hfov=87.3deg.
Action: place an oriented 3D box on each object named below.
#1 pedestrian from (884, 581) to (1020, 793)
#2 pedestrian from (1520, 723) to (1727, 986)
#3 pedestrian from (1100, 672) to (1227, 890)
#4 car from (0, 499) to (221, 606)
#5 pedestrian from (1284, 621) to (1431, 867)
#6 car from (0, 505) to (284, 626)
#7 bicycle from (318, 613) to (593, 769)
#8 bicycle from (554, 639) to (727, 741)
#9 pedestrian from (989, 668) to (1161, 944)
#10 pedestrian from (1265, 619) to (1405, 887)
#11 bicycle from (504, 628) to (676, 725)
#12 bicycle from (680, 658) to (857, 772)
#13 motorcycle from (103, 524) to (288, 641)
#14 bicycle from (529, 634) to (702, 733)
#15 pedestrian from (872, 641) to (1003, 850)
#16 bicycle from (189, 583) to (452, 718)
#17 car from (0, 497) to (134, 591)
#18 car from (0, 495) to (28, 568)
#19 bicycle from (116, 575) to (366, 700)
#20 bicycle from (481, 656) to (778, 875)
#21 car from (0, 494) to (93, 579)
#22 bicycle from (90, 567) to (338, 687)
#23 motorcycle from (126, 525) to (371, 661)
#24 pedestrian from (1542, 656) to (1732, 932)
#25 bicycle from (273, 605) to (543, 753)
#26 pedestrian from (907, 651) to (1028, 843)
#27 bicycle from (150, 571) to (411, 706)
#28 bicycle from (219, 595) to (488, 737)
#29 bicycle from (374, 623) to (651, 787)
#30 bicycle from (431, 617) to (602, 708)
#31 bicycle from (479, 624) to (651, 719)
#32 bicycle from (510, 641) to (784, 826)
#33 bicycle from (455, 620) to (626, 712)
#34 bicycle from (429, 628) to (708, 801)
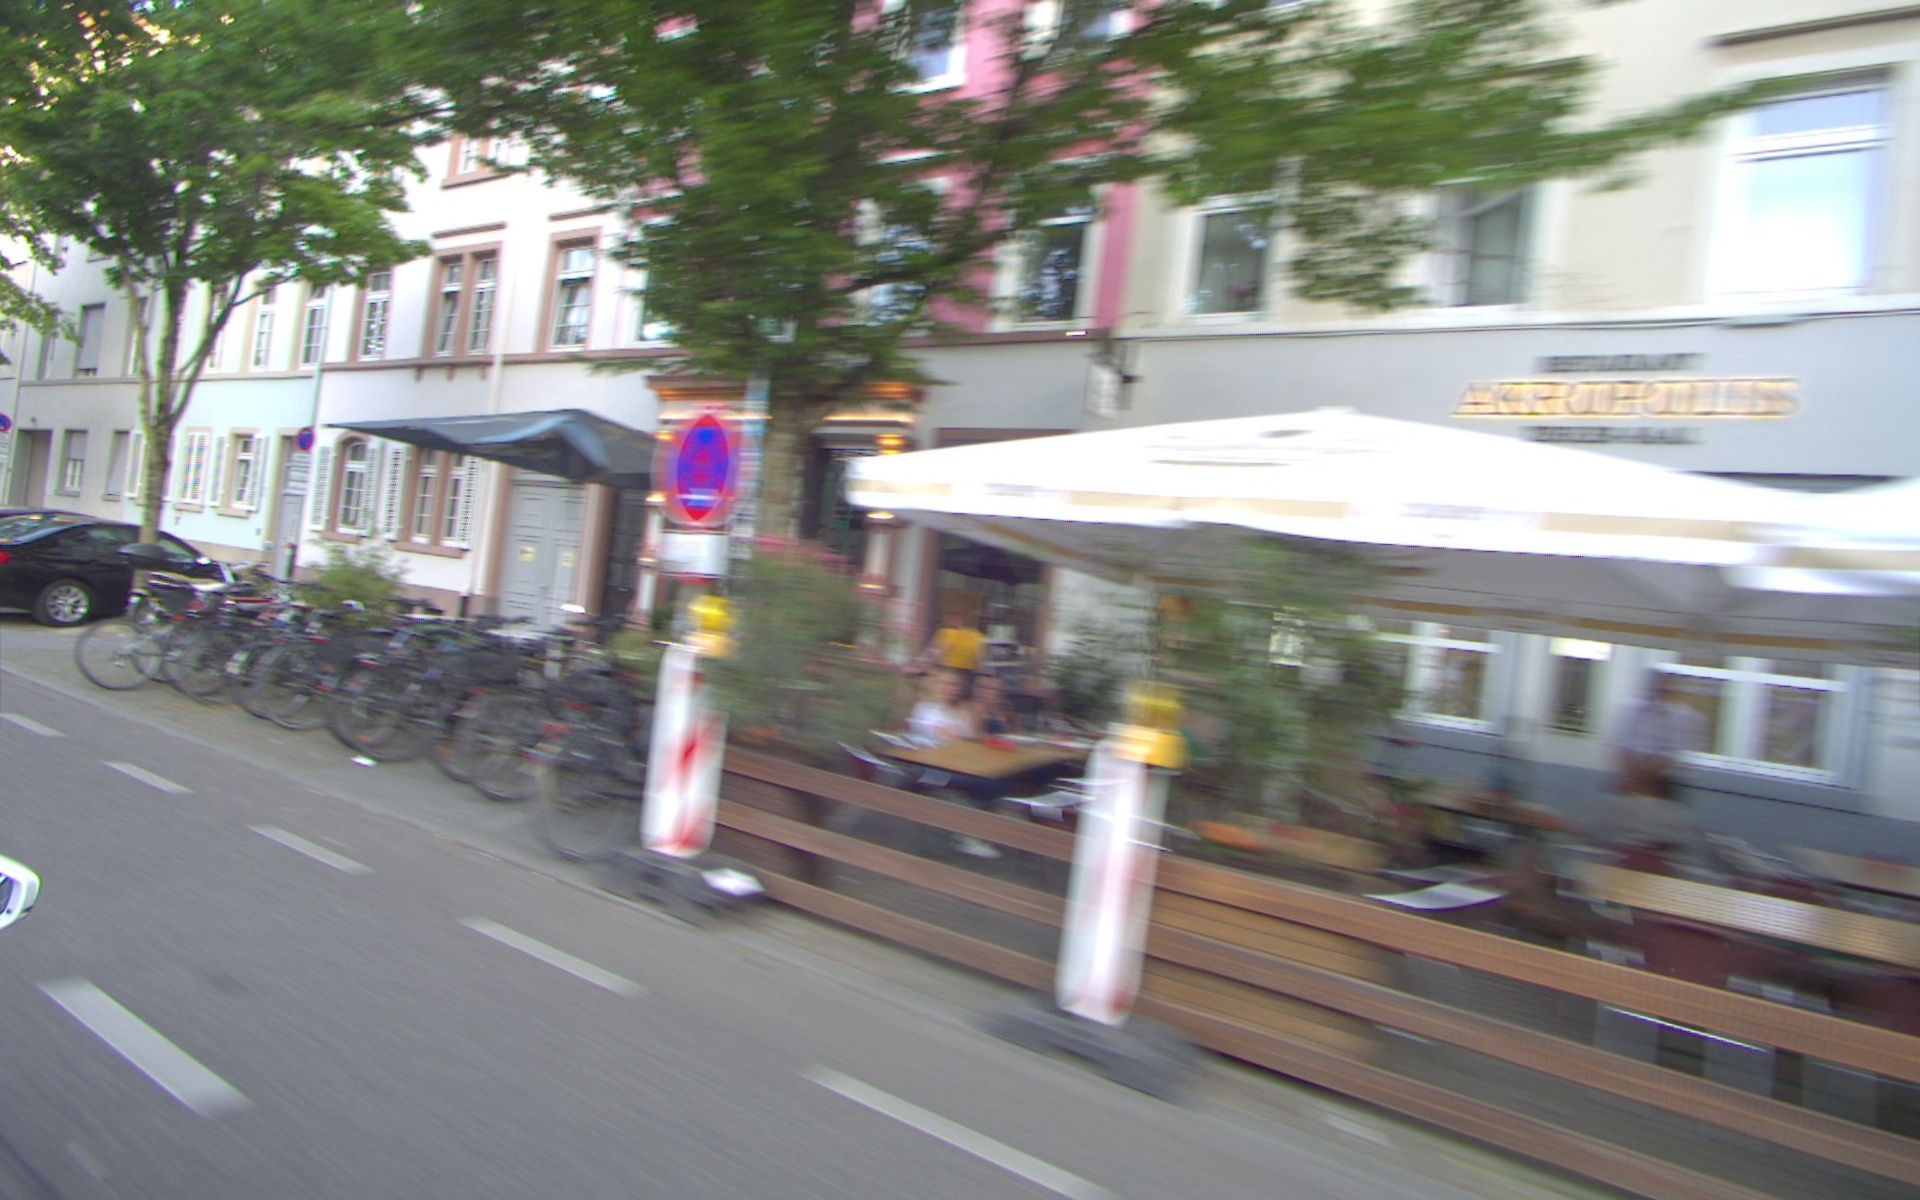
[{"bbox_3d":[-0.074,0.785,9.226,0.879,1.783,0.552,7,-1,31],"label":"pedestrian"},{"bbox_3d":[3.837,1.447,5.867,0.702,1.321,0.553,7,-1,4],"label":"pedestrian"},{"bbox_3d":[1.360,1.172,6.676,0.495,1.307,0.599,7,-1,33],"label":"pedestrian"},{"bbox_3d":[-14.496,-0.769,16.014,1.963,1.489,3.961,7,1,15],"label":"car"},{"bbox_3d":[3.156,1.120,8.057,0.836,1.783,0.553,7,-1,15],"label":"pedestrian"},{"bbox_3d":[-12.293,-0.483,14.400,1.788,1.445,4.174,7,1,13],"label":"car"},{"bbox_3d":[-3.948,0.681,8.052,0.598,1.045,1.888,7,1,30],"label":"bicycle"},{"bbox_3d":[-3.088,0.849,9.907,0.320,0.884,1.817,7,1,30],"label":"bicycle"},{"bbox_3d":[0.621,1.068,5.397,0.591,1.307,0.502,7,-1,36],"label":"pedestrian"},{"bbox_3d":[2.718,1.087,7.361,0.701,1.783,0.553,7,-1,15],"label":"pedestrian"},{"bbox_3d":[-3.739,0.754,10.318,0.320,0.884,1.817,7,1,30],"label":"bicycle"},{"bbox_3d":[-1.654,1.027,9.015,0.381,0.882,1.820,6,-2,30],"label":"bicycle"},{"bbox_3d":[-9.973,-0.195,13.203,0.524,1.360,1.788,7,1,30],"label":"motorcycle"},{"bbox_3d":[-3.403,0.808,10.109,0.320,0.884,1.817,7,1,30],"label":"bicycle"},{"bbox_3d":[-0.154,0.982,6.978,0.590,1.308,0.503,7,0,29],"label":"pedestrian"},{"bbox_3d":[-5.692,0.443,9.083,0.598,1.045,1.888,7,1,30],"label":"bicycle"},{"bbox_3d":[-16.691,-1.020,16.891,1.789,1.489,4.129,7,1,9],"label":"car"},{"bbox_3d":[-21.094,-1.535,19.443,1.977,1.489,4.129,7,1,7],"label":"car"},{"bbox_3d":[-6.906,0.361,9.778,0.581,1.045,1.865,7,1,29],"label":"bicycle"},{"bbox_3d":[-1.889,0.898,6.008,0.547,1.045,1.680,7,2,30],"label":"bicycle"},{"bbox_3d":[-18.776,-1.281,18.369,1.949,1.489,4.129,7,1,7],"label":"car"},{"bbox_3d":[-7.399,0.281,10.088,0.524,1.045,1.905,7,1,29],"label":"bicycle"},{"bbox_3d":[-8.832,-0.039,12.605,0.951,1.479,2.225,7,0,30],"label":"motorcycle"},{"bbox_3d":[4.816,1.333,7.204,0.701,1.783,0.705,7,-1,5],"label":"pedestrian"},{"bbox_3d":[-4.524,0.623,8.401,0.598,1.045,1.888,7,1,30],"label":"bicycle"},{"bbox_3d":[0.062,1.078,7.534,0.589,1.307,0.503,7,-1,28],"label":"pedestrian"},{"bbox_3d":[-6.307,0.359,9.462,0.663,1.081,1.888,7,2,29],"label":"bicycle"},{"bbox_3d":[-5.182,0.548,8.737,0.598,1.045,1.888,7,1,30],"label":"bicycle"},{"bbox_3d":[-3.345,0.746,7.714,0.598,1.045,1.888,7,1,30],"label":"bicycle"},{"bbox_3d":[-4.777,0.668,10.961,0.320,0.884,1.817,7,1,30],"label":"bicycle"},{"bbox_3d":[-4.082,0.729,10.551,0.320,0.884,1.817,7,1,30],"label":"bicycle"},{"bbox_3d":[-2.083,0.842,6.959,0.598,1.045,1.817,7,2,30],"label":"bicycle"},{"bbox_3d":[-4.437,0.690,10.775,0.320,0.884,1.817,7,1,30],"label":"bicycle"},{"bbox_3d":[-2.791,0.773,7.401,0.598,1.045,1.888,7,1,30],"label":"bicycle"}]
